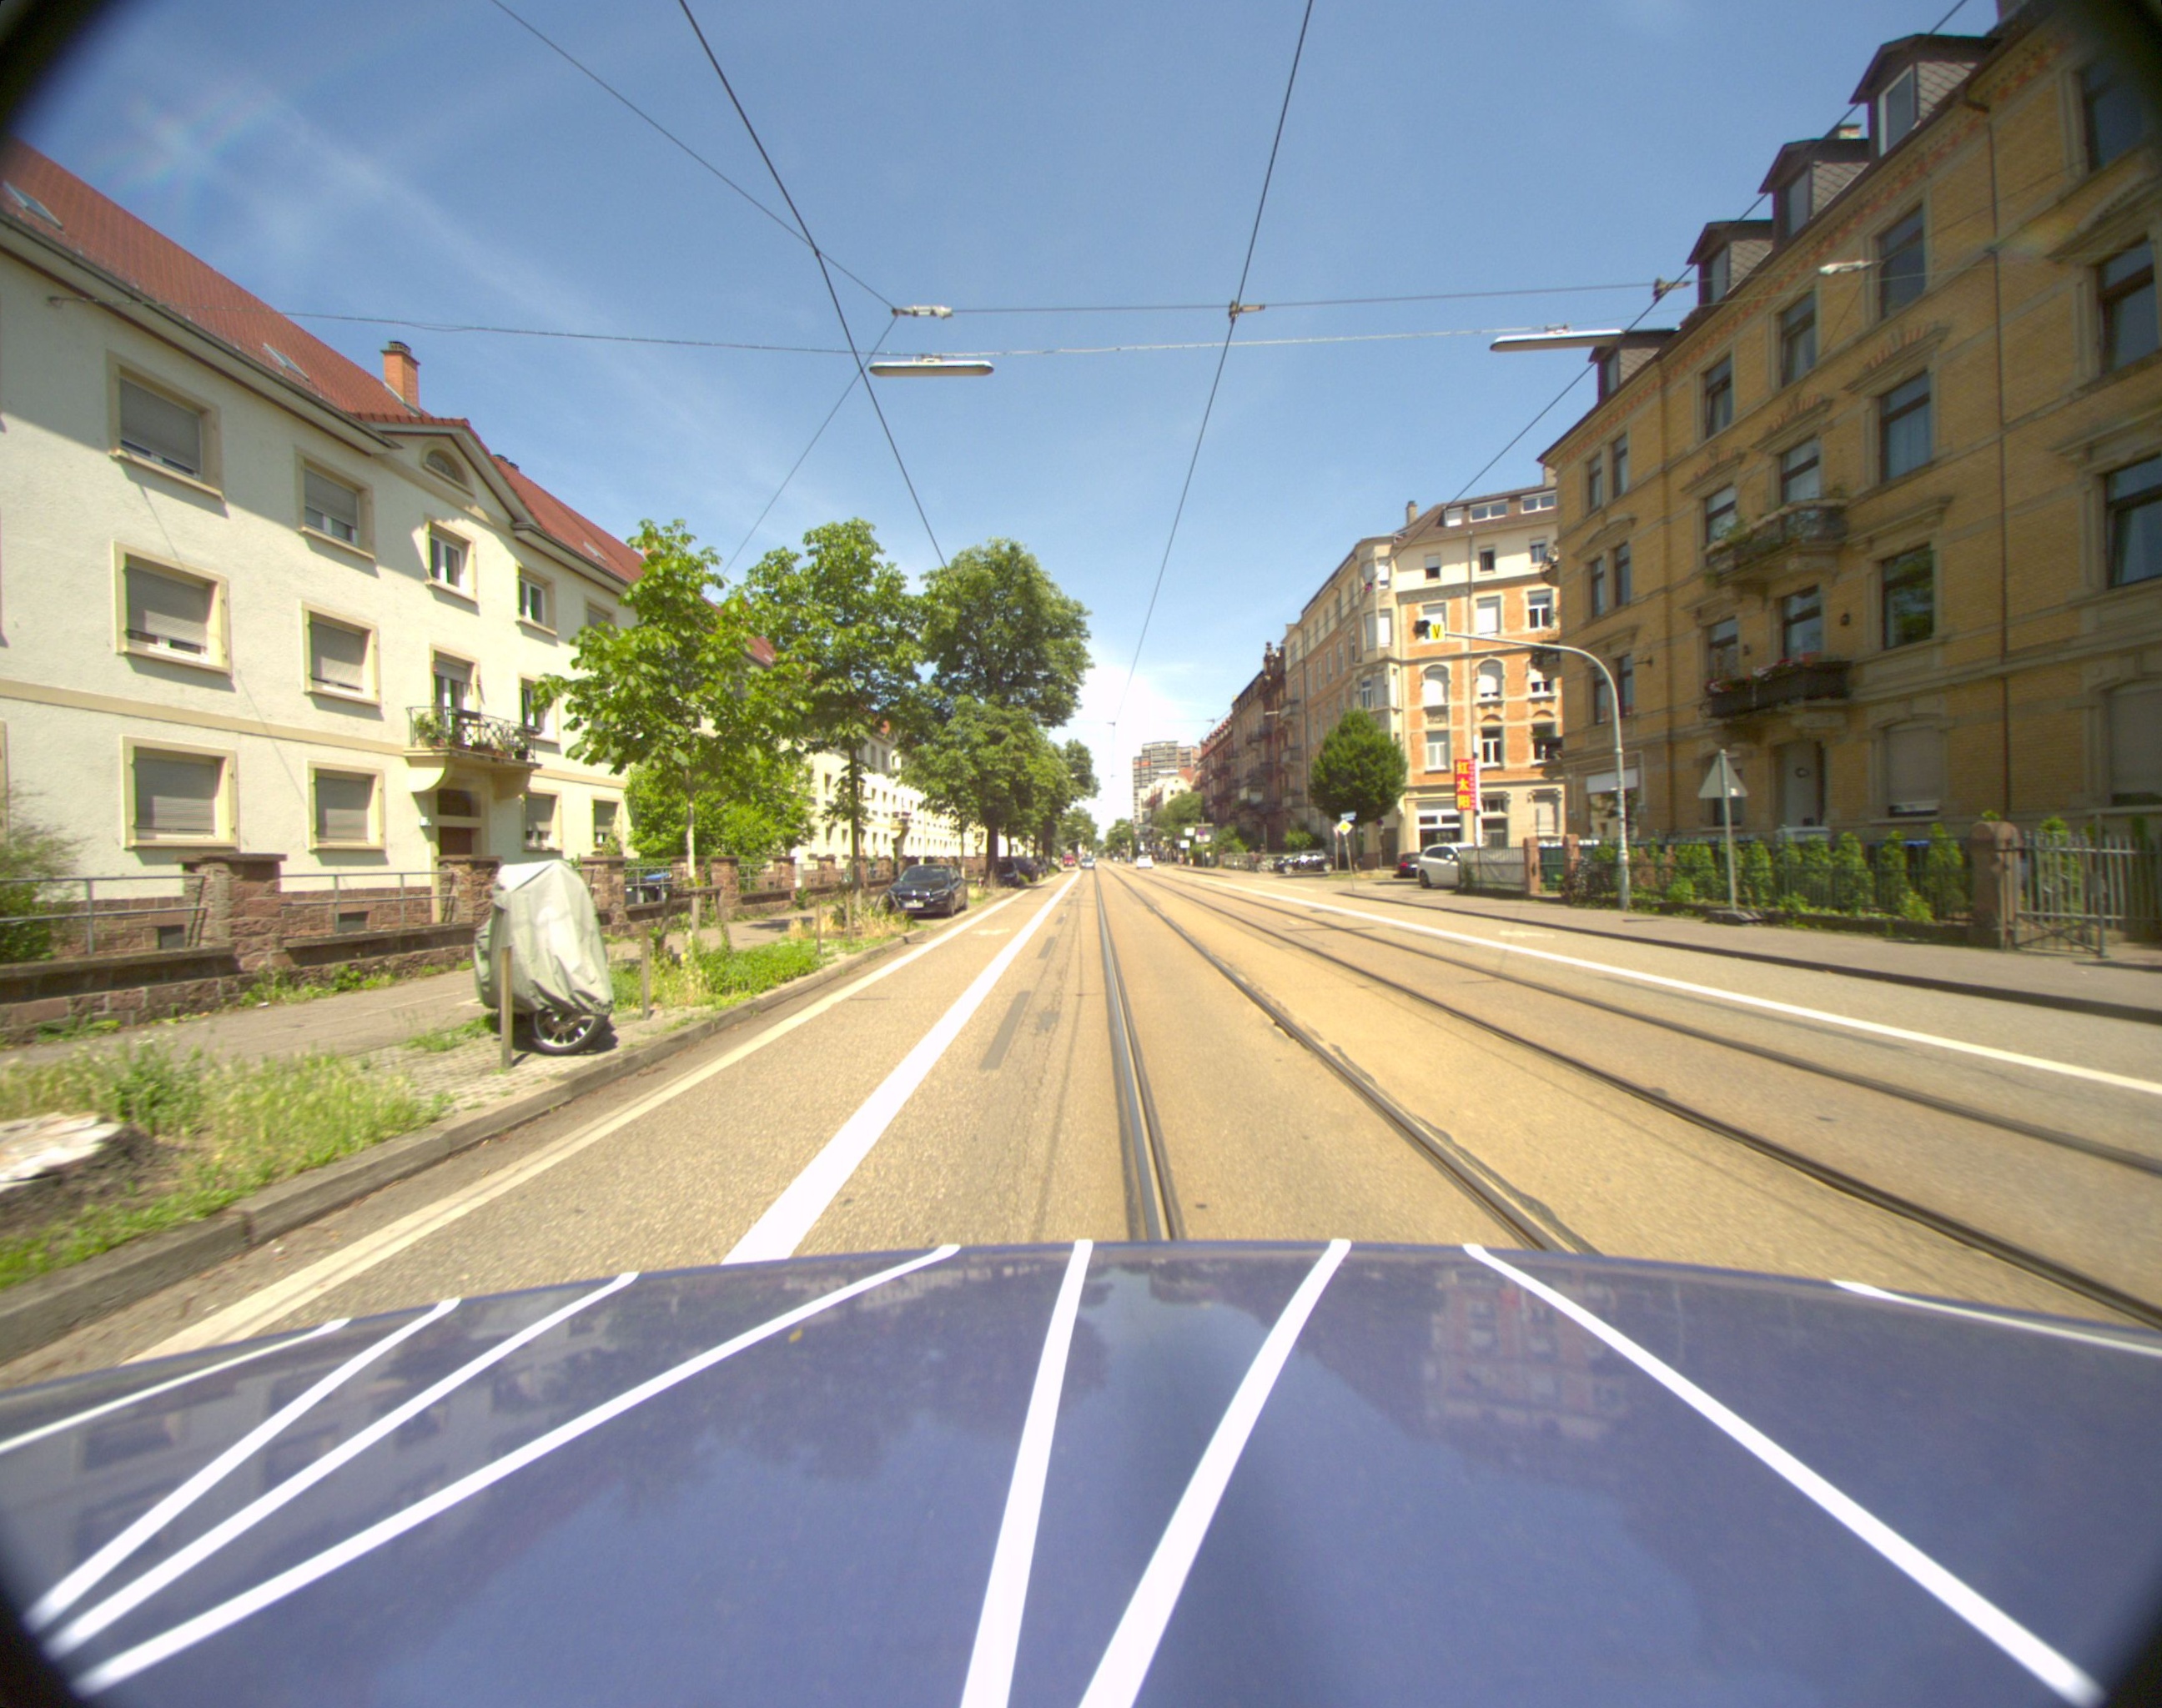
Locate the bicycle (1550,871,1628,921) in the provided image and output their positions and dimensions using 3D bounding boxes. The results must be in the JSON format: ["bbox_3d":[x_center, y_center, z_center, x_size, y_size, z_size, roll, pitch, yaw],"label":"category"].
[{"bbox_3d":[11.376,0.912,17.077,0.455,0.997,1.806,-2,0,-3],"label":"bicycle"}]

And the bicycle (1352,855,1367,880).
[{"bbox_3d":[15.372,0.736,41.933,0.500,1.221,1.853,-1,3,29],"label":"bicycle"}]

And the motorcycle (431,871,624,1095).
[{"bbox_3d":[-4.736,0.943,6.414,2.314,1.531,0.871,-2,0,44],"label":"motorcycle"}]

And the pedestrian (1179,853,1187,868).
[{"bbox_3d":[11.761,0.765,87.792,0.874,1.690,1.014,-2,0,7],"label":"pedestrian"}]

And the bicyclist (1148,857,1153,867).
[{"bbox_3d":[10.830,1.276,118.615,0.594,1.535,0.952,-1,0,1],"label":"bicyclist"}]

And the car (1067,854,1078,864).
[{"bbox_3d":[-1.434,0.864,125.148,1.737,1.543,4.423,-2,0,-1],"label":"car"}]

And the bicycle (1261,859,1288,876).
[{"bbox_3d":[12.932,0.906,50.792,1.709,1.031,0.551,-2,0,5],"label":"bicycle"}]

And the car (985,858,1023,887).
[{"bbox_3d":[-4.120,0.967,41.215,1.699,1.410,4.356,-2,0,-1],"label":"car"}]

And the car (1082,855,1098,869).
[{"bbox_3d":[0.988,0.899,89.424,1.737,1.543,4.423,-2,0,-1],"label":"car"}]

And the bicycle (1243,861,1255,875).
[{"bbox_3d":[11.985,0.980,54.219,0.440,0.978,1.710,-2,0,-1],"label":"bicycle"}]

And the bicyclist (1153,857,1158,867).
[{"bbox_3d":[11.718,1.214,118.916,0.635,1.575,1.028,-1,0,1],"label":"bicyclist"}]

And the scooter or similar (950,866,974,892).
[{"bbox_3d":[-5.648,1.188,36.202,0.379,1.206,1.250,-2,1,31],"label":"scooter or similar"}]

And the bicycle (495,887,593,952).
[{"bbox_3d":[-10.293,1.222,14.649,0.500,1.096,1.807,-2,0,4],"label":"bicycle"}]

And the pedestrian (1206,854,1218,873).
[{"bbox_3d":[12.262,0.891,71.199,0.853,1.713,1.138,-5,0,1],"label":"pedestrian"}]

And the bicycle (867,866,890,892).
[{"bbox_3d":[-9.327,1.137,34.976,0.480,1.072,1.924,-2,0,1],"label":"bicycle"}]

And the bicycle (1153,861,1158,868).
[{"bbox_3d":[11.723,1.660,118.983,0.630,1.072,1.875,-1,0,1],"label":"bicycle"}]

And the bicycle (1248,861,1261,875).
[{"bbox_3d":[11.937,0.953,52.177,0.440,0.978,1.710,-2,0,-1],"label":"bicycle"}]

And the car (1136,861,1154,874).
[{"bbox_3d":[7.189,1.509,85.396,1.760,1.416,4.000,-1,0,1],"label":"car"}]

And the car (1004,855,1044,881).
[{"bbox_3d":[-3.797,0.890,51.192,1.952,1.641,4.881,-2,0,4],"label":"car"}]

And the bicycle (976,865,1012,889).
[{"bbox_3d":[-4.198,1.111,36.629,1.658,1.072,0.606,-2,0,-6],"label":"bicycle"}]

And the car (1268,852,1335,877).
[{"bbox_3d":[14.101,0.661,48.753,3.769,1.420,1.713,-2,1,1],"label":"car"}]

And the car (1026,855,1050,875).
[{"bbox_3d":[-3.482,0.879,62.110,1.737,1.543,4.453,-2,0,-1],"label":"car"}]

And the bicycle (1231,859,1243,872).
[{"bbox_3d":[12.189,0.895,59.361,0.498,0.981,1.710,-6,0,-1],"label":"bicycle"}]

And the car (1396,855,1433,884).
[{"bbox_3d":[18.021,0.809,41.138,1.627,1.331,3.776,-1,2,21],"label":"car"}]

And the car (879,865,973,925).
[{"bbox_3d":[-4.305,1.088,21.874,1.774,1.418,4.861,-2,0,-1],"label":"car"}]

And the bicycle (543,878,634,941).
[{"bbox_3d":[-9.608,1.059,14.908,0.500,1.096,1.807,-2,0,4],"label":"bicycle"}]

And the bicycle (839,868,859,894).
[{"bbox_3d":[-10.697,1.230,35.087,0.480,1.072,1.923,-2,0,-5],"label":"bicycle"}]

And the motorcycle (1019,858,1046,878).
[{"bbox_3d":[-3.732,1.078,58.267,1.919,1.425,0.671,-2,0,-8],"label":"motorcycle"}]

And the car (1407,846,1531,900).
[{"bbox_3d":[13.176,0.603,26.108,1.871,1.591,4.100,-3,0,-4],"label":"car"}]
